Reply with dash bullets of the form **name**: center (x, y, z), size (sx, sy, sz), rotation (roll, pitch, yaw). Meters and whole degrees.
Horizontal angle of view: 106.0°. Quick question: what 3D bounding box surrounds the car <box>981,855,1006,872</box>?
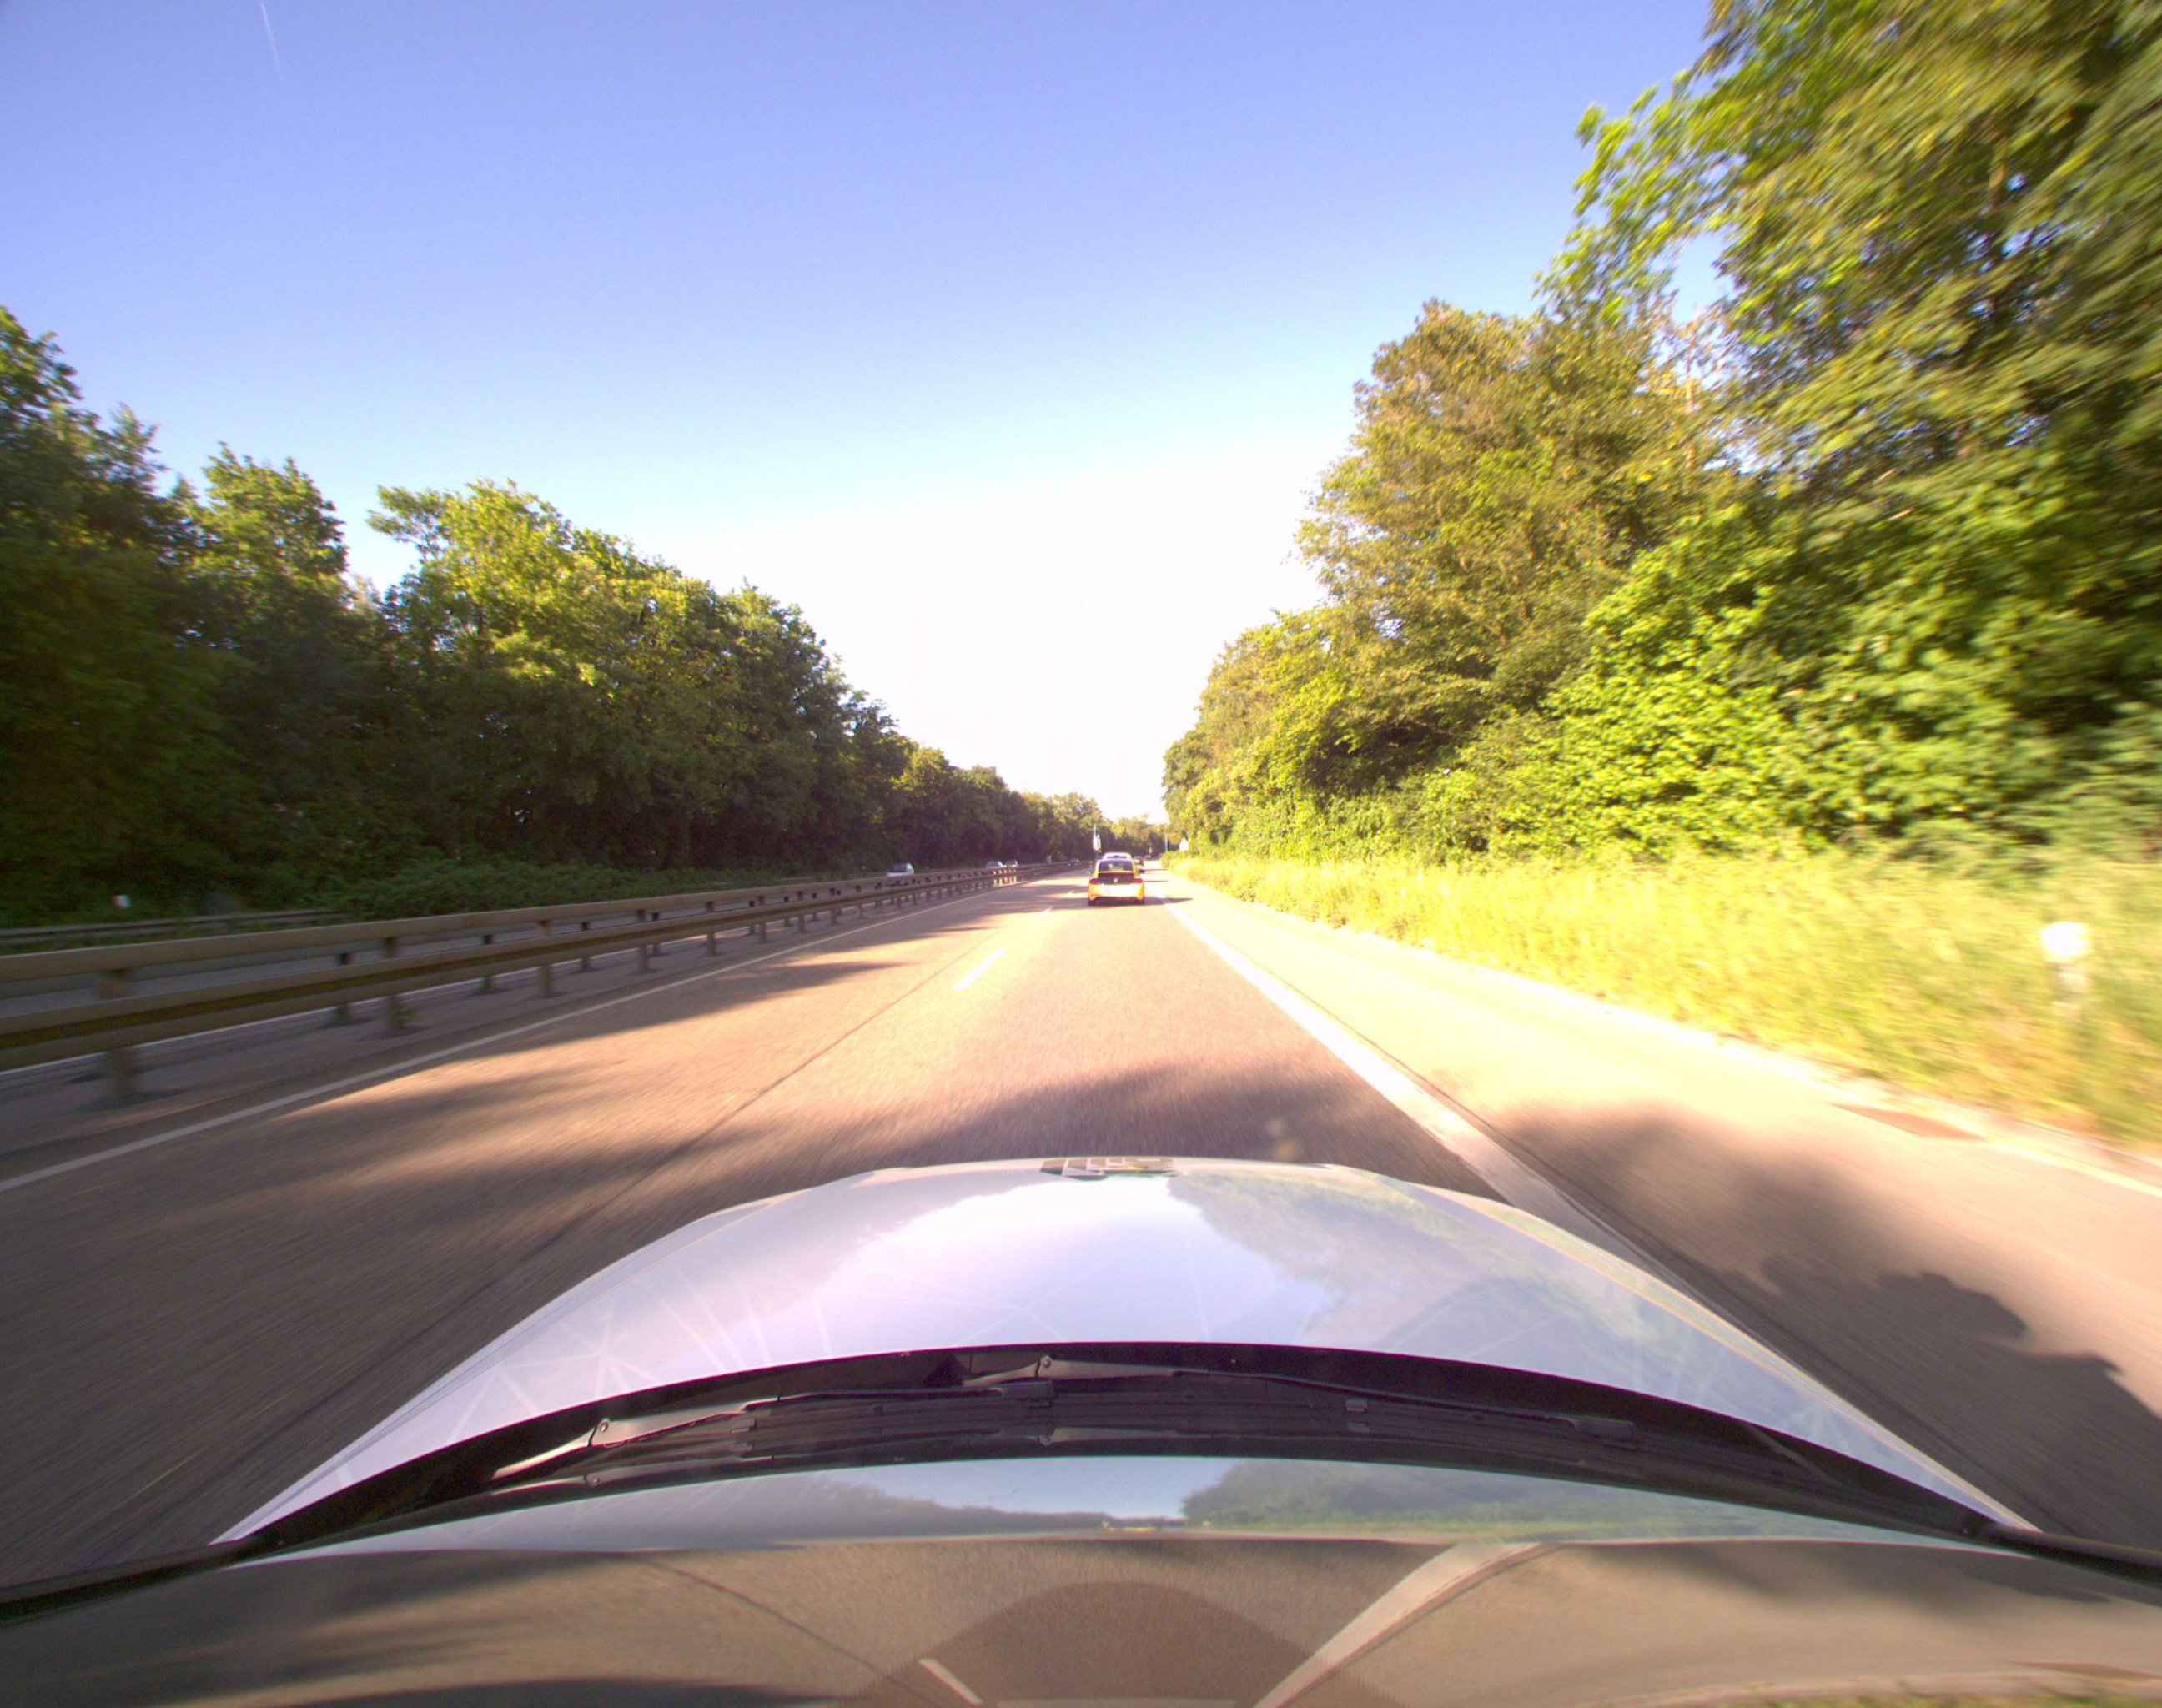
- **car**: center (-9.733, 1.079, 91.204), size (1.986, 1.750, 4.553), rotation (-3, 0, 2)

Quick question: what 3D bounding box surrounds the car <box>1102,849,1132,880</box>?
- **car**: center (2.239, 0.644, 50.442), size (1.734, 1.830, 3.425), rotation (-1, 0, 3)

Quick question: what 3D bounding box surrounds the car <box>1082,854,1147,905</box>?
- **car**: center (1.118, 0.776, 26.378), size (1.931, 1.508, 3.426), rotation (-2, 0, 3)

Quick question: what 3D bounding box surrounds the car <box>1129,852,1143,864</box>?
- **car**: center (8.780, 0.636, 130.707), size (2.254, 1.875, 5.080), rotation (-1, 0, 3)

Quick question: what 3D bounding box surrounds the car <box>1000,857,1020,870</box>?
- **car**: center (-9.319, 1.202, 106.895), size (1.986, 1.585, 4.003), rotation (-3, 0, 2)

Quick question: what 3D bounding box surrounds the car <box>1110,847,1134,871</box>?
- **car**: center (3.760, 0.439, 74.372), size (1.985, 2.013, 4.003), rotation (-3, 0, 3)

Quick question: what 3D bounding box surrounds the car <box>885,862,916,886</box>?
- **car**: center (-12.624, 1.386, 57.107), size (1.408, 1.619, 2.877), rotation (-2, 0, 2)
